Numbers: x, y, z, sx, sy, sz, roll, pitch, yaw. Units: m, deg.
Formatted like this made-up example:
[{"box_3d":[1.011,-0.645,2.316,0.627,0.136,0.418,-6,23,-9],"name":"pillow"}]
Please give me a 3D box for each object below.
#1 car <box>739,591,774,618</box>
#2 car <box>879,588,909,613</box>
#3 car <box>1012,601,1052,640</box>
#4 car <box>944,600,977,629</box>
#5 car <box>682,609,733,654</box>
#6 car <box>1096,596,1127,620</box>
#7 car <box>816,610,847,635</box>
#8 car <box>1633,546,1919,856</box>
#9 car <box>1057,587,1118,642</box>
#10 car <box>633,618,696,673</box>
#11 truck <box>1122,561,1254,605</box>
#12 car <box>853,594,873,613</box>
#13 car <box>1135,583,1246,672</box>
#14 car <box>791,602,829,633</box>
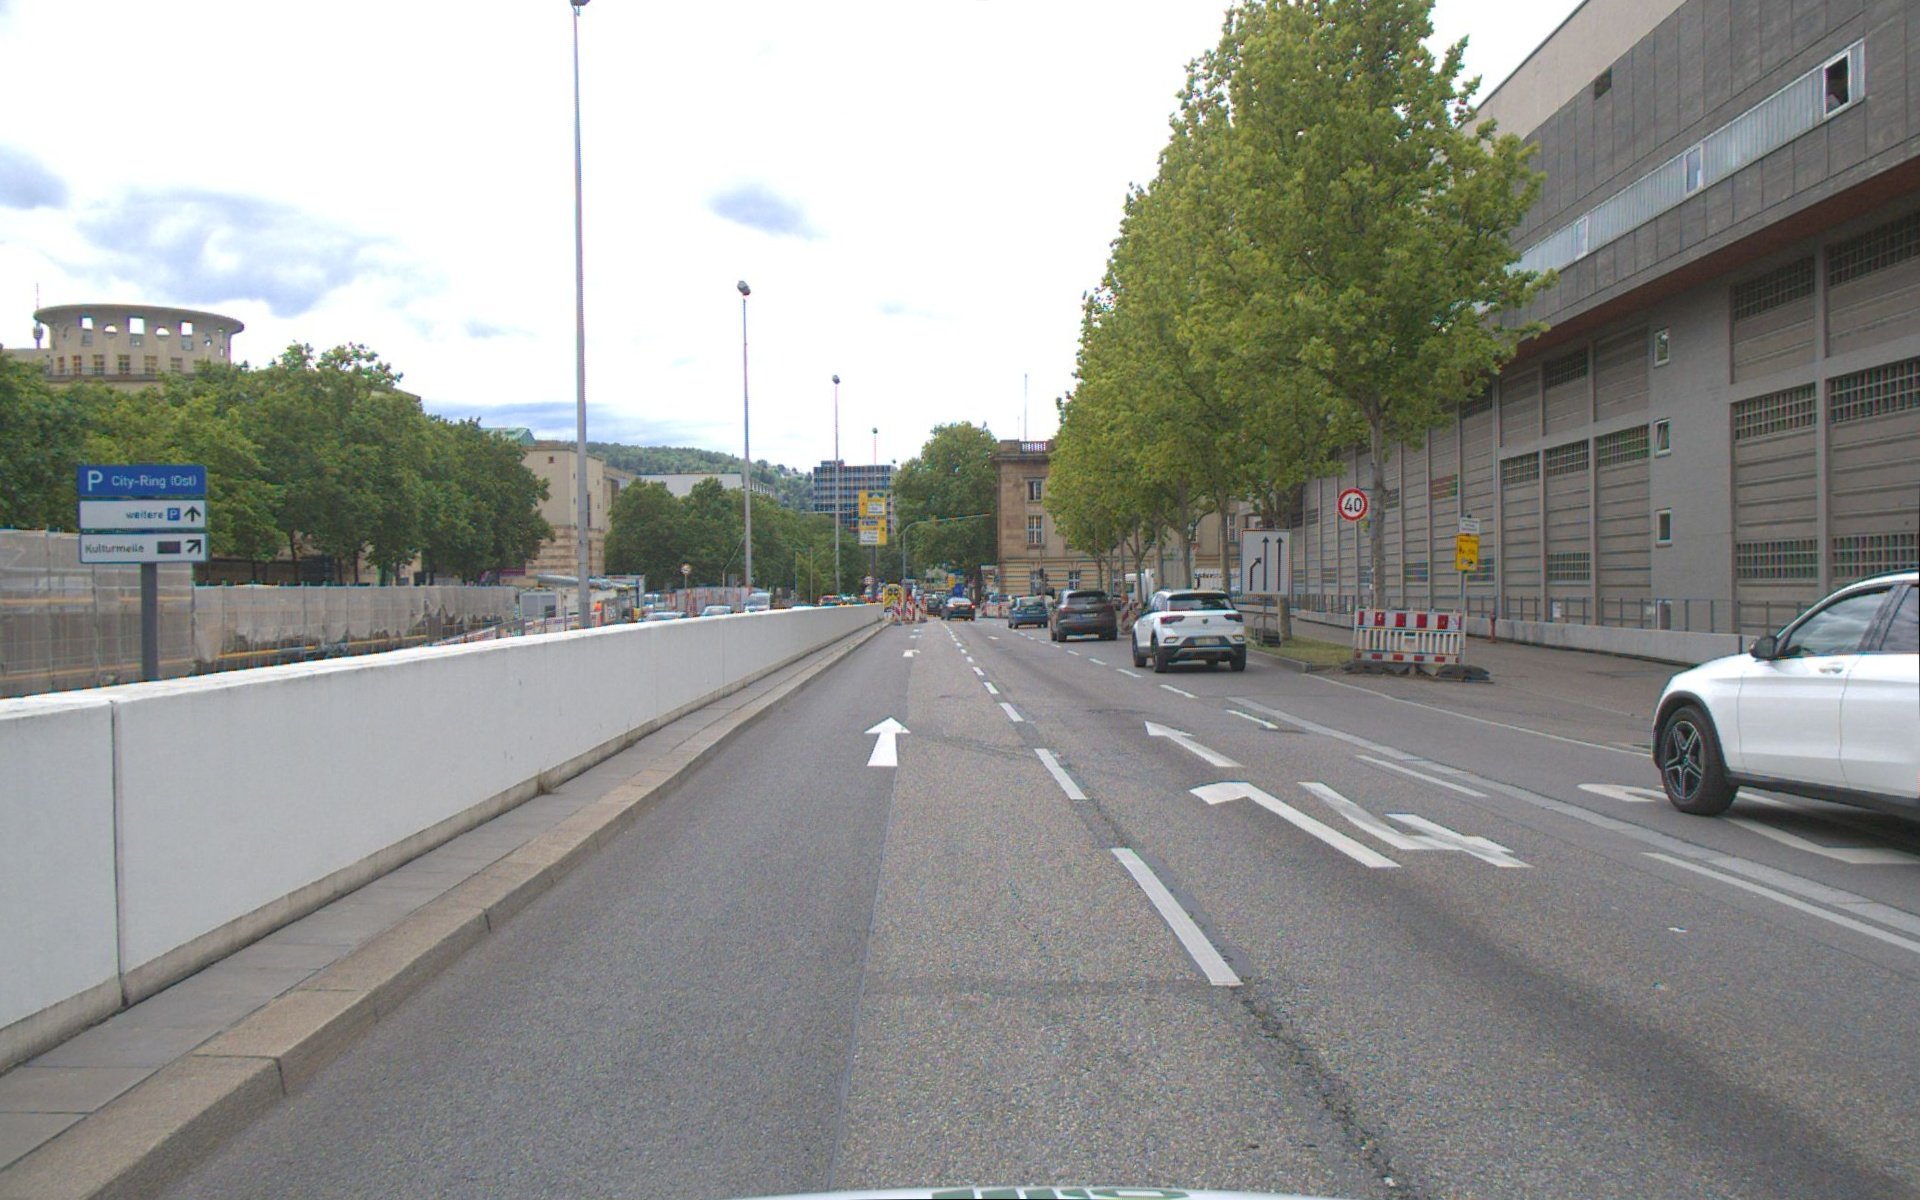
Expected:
[{"box_3d":[-13.206,0.314,107.413,1.715,1.595,3.377,-3,-1,0],"name":"car"},{"box_3d":[-6.833,0.052,171.406,2.528,2.416,5.529,-2,0,3],"name":"car"},{"box_3d":[3.495,0.944,79.551,1.785,1.771,4.482,-2,0,4],"name":"car"},{"box_3d":[0.061,0.898,106.596,1.785,1.771,4.482,-2,0,4],"name":"car"},{"box_3d":[-12.470,1.519,81.854,1.953,2.048,3.999,-1,1,-1],"name":"car"},{"box_3d":[10.898,0.599,119.385,1.818,1.595,4.330,0,-1,0],"name":"car"},{"box_3d":[-8.560,1.498,110.487,1.715,1.595,3.377,-3,-1,0],"name":"car"},{"box_3d":[5.990,0.559,9.806,1.776,1.671,4.546,1,0,-6],"name":"car"},{"box_3d":[4.175,0.441,54.576,1.785,1.595,4.481,-4,0,3],"name":"car"},{"box_3d":[-12.242,1.868,68.762,1.953,2.048,3.999,-1,1,-1],"name":"car"},{"box_3d":[17.537,-1.316,127.632,9.824,3.104,2.568,-1,-1,0],"name":"truck"},{"box_3d":[-8.591,0.353,146.129,1.716,1.595,4.328,-1,-1,-4],"name":"car"},{"box_3d":[4.532,0.496,33.090,1.714,1.595,4.333,-2,1,2],"name":"car"},{"box_3d":[-7.900,0.939,87.407,1.715,1.595,3.377,0,-1,0],"name":"car"}]
